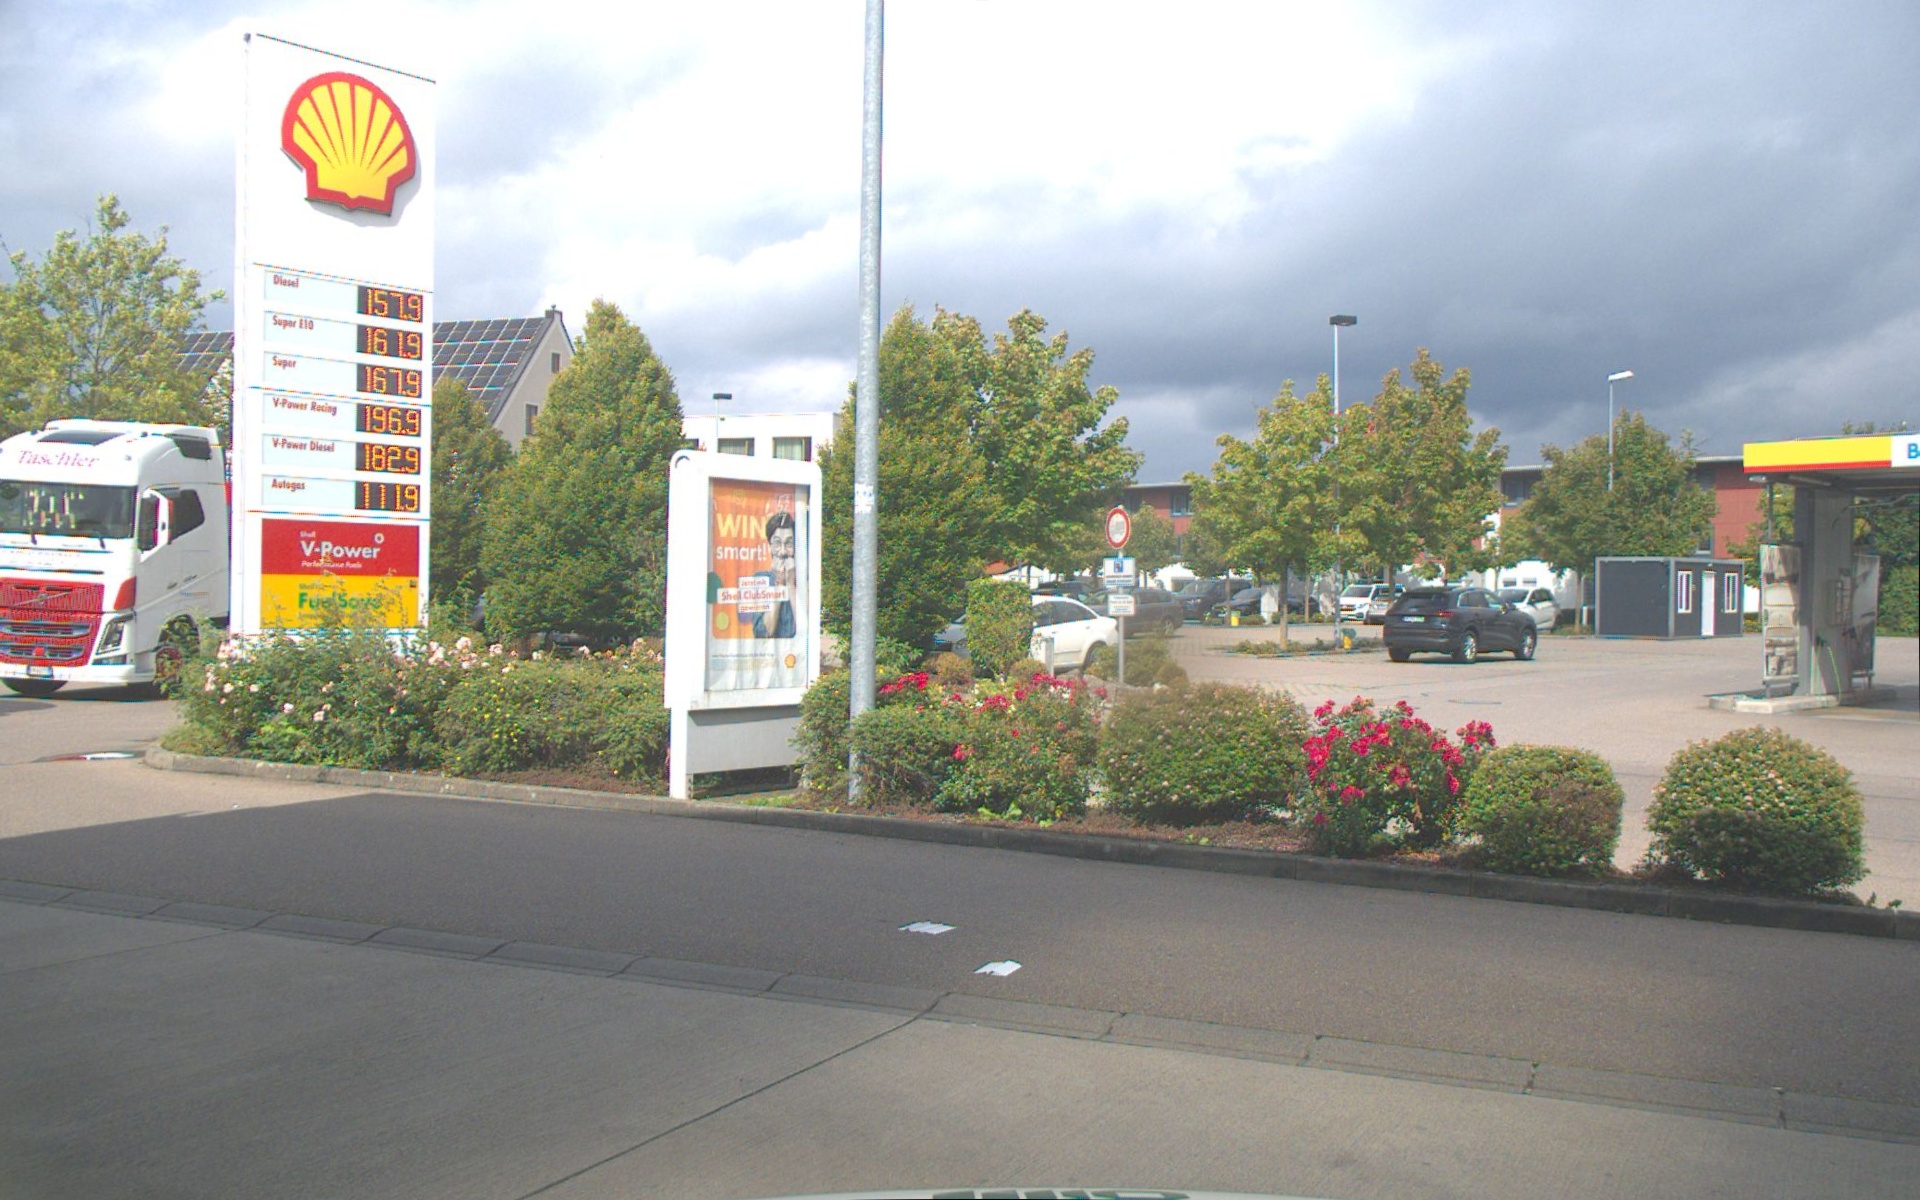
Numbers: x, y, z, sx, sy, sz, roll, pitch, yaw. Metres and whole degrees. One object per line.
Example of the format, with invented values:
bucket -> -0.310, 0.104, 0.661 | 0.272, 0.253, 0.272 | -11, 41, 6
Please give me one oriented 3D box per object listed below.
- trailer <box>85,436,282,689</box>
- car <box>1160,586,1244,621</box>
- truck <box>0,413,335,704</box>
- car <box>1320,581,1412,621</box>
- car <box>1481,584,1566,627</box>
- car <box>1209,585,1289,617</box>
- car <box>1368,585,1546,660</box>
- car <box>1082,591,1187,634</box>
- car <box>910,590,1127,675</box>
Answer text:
trailer -> -14.884, -0.574, 31.307 | 2.698, 3.842, 12.600 | 1, 0, -27
car -> 9.810, 0.158, 66.927 | 3.364, 1.343, 1.719 | 1, 0, -45
truck -> -12.225, -0.555, 25.354 | 2.675, 3.913, 5.921 | 1, 0, 3
car -> 19.914, 0.049, 80.941 | 4.839, 1.865, 2.150 | 1, 0, -44
car -> 18.006, 0.180, 52.801 | 3.080, 1.330, 1.346 | 1, -1, -45
car -> 11.411, 0.054, 65.205 | 3.393, 1.199, 1.462 | 1, 0, -45
car -> 11.129, 0.496, 36.888 | 4.467, 1.575, 1.856 | 1, 0, -44
car -> 5.277, 0.379, 49.787 | 3.203, 1.249, 1.481 | 1, 0, -45
car -> 1.132, 0.586, 29.931 | 1.348, 1.428, 4.312 | 1, -1, 45
